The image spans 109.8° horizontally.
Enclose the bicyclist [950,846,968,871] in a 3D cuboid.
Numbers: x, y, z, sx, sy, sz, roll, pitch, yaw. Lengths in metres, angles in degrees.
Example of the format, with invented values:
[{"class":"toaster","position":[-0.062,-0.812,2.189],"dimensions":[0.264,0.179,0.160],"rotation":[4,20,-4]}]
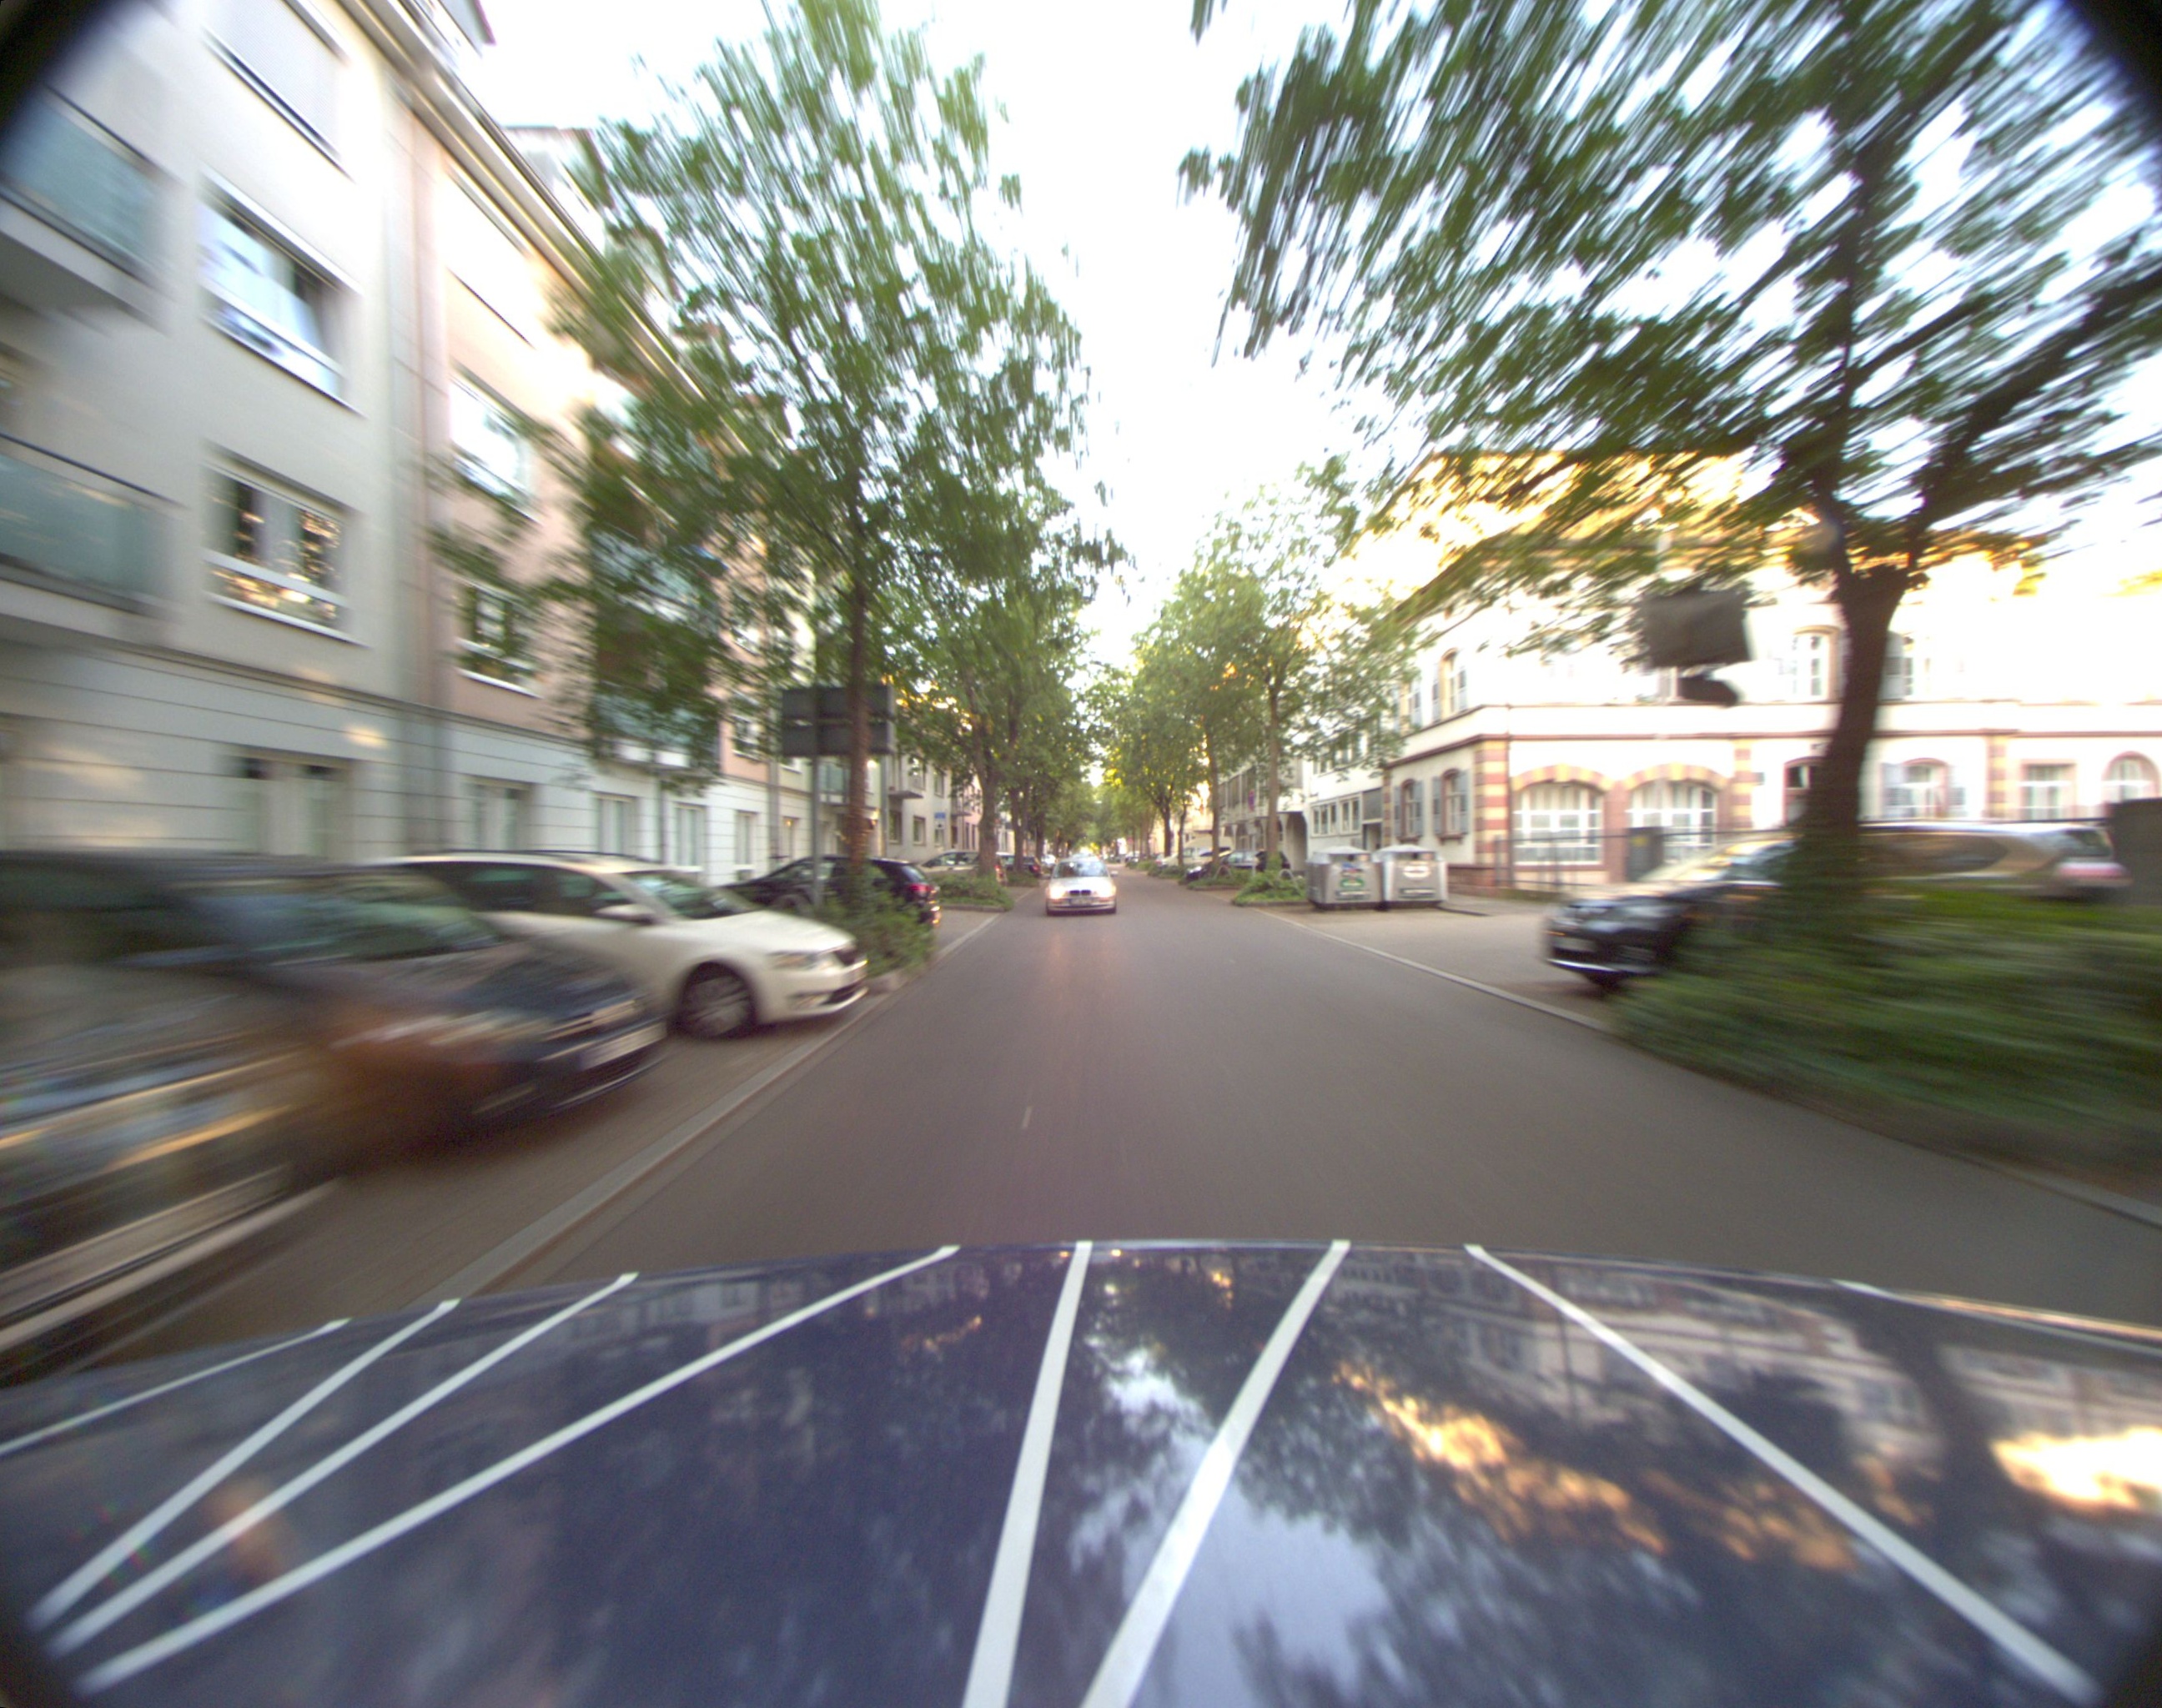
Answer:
[{"class":"bicyclist","position":[-7.747,0.290,48.232],"dimensions":[0.973,1.595,1.135],"rotation":[-1,1,-2]}]

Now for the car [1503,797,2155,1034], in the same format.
[{"class":"car","position":[6.980,0.516,7.507],"dimensions":[4.517,1.944,2.000],"rotation":[-1,1,-1]}]

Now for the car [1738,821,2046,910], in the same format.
[{"class":"car","position":[18.224,0.217,17.508],"dimensions":[2.002,1.747,4.677],"rotation":[-1,0,-3]}]

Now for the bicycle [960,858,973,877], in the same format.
[{"class":"bicycle","position":[-7.348,0.843,48.788],"dimensions":[0.622,1.157,3.399],"rotation":[-1,0,-5]}]

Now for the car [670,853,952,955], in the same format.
[{"class":"car","position":[-4.382,0.798,12.897],"dimensions":[4.095,1.443,1.934],"rotation":[2,0,-5]}]

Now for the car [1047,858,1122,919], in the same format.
[{"class":"car","position":[0.029,0.814,19.962],"dimensions":[1.737,1.363,4.331],"rotation":[-1,0,-2]}]

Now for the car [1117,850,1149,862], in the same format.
[{"class":"car","position":[7.598,0.266,111.001],"dimensions":[4.601,1.725,2.142],"rotation":[-1,0,5]}]

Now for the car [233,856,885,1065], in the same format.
[{"class":"car","position":[-4.335,0.841,6.872],"dimensions":[4.611,1.459,1.796],"rotation":[2,1,0]}]

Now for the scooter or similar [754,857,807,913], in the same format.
[{"class":"scooter or similar","position":[-6.907,0.686,17.542],"dimensions":[0.656,1.196,1.454],"rotation":[2,0,-2]}]

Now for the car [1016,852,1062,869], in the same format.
[{"class":"car","position":[-3.779,0.601,69.284],"dimensions":[4.093,1.482,1.797],"rotation":[-1,0,-3]}]

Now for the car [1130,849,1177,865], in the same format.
[{"class":"car","position":[7.221,0.282,76.001],"dimensions":[4.520,1.517,1.871],"rotation":[-1,0,0]}]

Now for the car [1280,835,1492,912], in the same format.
[{"class":"car","position":[7.514,0.449,19.043],"dimensions":[4.517,1.761,2.000],"rotation":[-1,1,-1]}]

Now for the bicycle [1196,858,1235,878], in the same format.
[{"class":"bicycle","position":[5.715,0.600,32.360],"dimensions":[1.556,0.826,0.613],"rotation":[-1,1,4]}]

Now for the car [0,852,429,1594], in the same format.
[{"class":"car","position":[-4.736,0.762,1.702],"dimensions":[4.655,1.608,2.009],"rotation":[3,0,-3]}]

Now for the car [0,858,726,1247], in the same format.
[{"class":"car","position":[-4.602,0.858,4.295],"dimensions":[4.233,1.430,1.930],"rotation":[3,1,2]}]

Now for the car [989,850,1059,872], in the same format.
[{"class":"car","position":[-4.135,0.524,55.459],"dimensions":[4.851,1.440,2.042],"rotation":[1,1,3]}]

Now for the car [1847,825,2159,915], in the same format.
[{"class":"car","position":[21.039,0.321,17.700],"dimensions":[1.902,1.811,4.347],"rotation":[-1,0,-3]}]

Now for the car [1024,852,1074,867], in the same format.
[{"class":"car","position":[-3.223,0.547,77.254],"dimensions":[4.886,1.488,1.988],"rotation":[-1,0,1]}]

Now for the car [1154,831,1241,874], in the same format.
[{"class":"car","position":[7.147,-0.081,46.881],"dimensions":[5.016,2.558,2.121],"rotation":[-1,0,0]}]

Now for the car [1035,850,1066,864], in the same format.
[{"class":"car","position":[-3.637,0.364,90.791],"dimensions":[3.731,1.544,1.754],"rotation":[-1,0,-2]}]

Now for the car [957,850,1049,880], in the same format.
[{"class":"car","position":[-4.063,0.552,40.142],"dimensions":[4.468,1.419,2.012],"rotation":[2,1,5]}]

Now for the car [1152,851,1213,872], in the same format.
[{"class":"car","position":[7.326,0.560,55.124],"dimensions":[4.178,1.460,1.953],"rotation":[-1,0,1]}]

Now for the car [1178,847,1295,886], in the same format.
[{"class":"car","position":[6.981,0.543,34.474],"dimensions":[4.864,1.612,2.160],"rotation":[-1,1,1]}]

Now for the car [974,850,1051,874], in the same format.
[{"class":"car","position":[-4.366,0.486,48.994],"dimensions":[4.689,1.380,2.000],"rotation":[2,0,2]}]

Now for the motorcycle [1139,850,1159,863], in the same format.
[{"class":"motorcycle","position":[8.181,0.288,91.736],"dimensions":[2.234,1.461,0.900],"rotation":[-1,1,-22]}]

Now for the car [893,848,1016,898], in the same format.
[{"class":"car","position":[-4.404,0.644,26.947],"dimensions":[3.979,1.576,1.916],"rotation":[2,1,0]}]

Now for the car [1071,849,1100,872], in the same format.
[{"class":"car","position":[0.369,0.472,57.615],"dimensions":[1.892,1.636,4.001],"rotation":[-2,0,5]}]
